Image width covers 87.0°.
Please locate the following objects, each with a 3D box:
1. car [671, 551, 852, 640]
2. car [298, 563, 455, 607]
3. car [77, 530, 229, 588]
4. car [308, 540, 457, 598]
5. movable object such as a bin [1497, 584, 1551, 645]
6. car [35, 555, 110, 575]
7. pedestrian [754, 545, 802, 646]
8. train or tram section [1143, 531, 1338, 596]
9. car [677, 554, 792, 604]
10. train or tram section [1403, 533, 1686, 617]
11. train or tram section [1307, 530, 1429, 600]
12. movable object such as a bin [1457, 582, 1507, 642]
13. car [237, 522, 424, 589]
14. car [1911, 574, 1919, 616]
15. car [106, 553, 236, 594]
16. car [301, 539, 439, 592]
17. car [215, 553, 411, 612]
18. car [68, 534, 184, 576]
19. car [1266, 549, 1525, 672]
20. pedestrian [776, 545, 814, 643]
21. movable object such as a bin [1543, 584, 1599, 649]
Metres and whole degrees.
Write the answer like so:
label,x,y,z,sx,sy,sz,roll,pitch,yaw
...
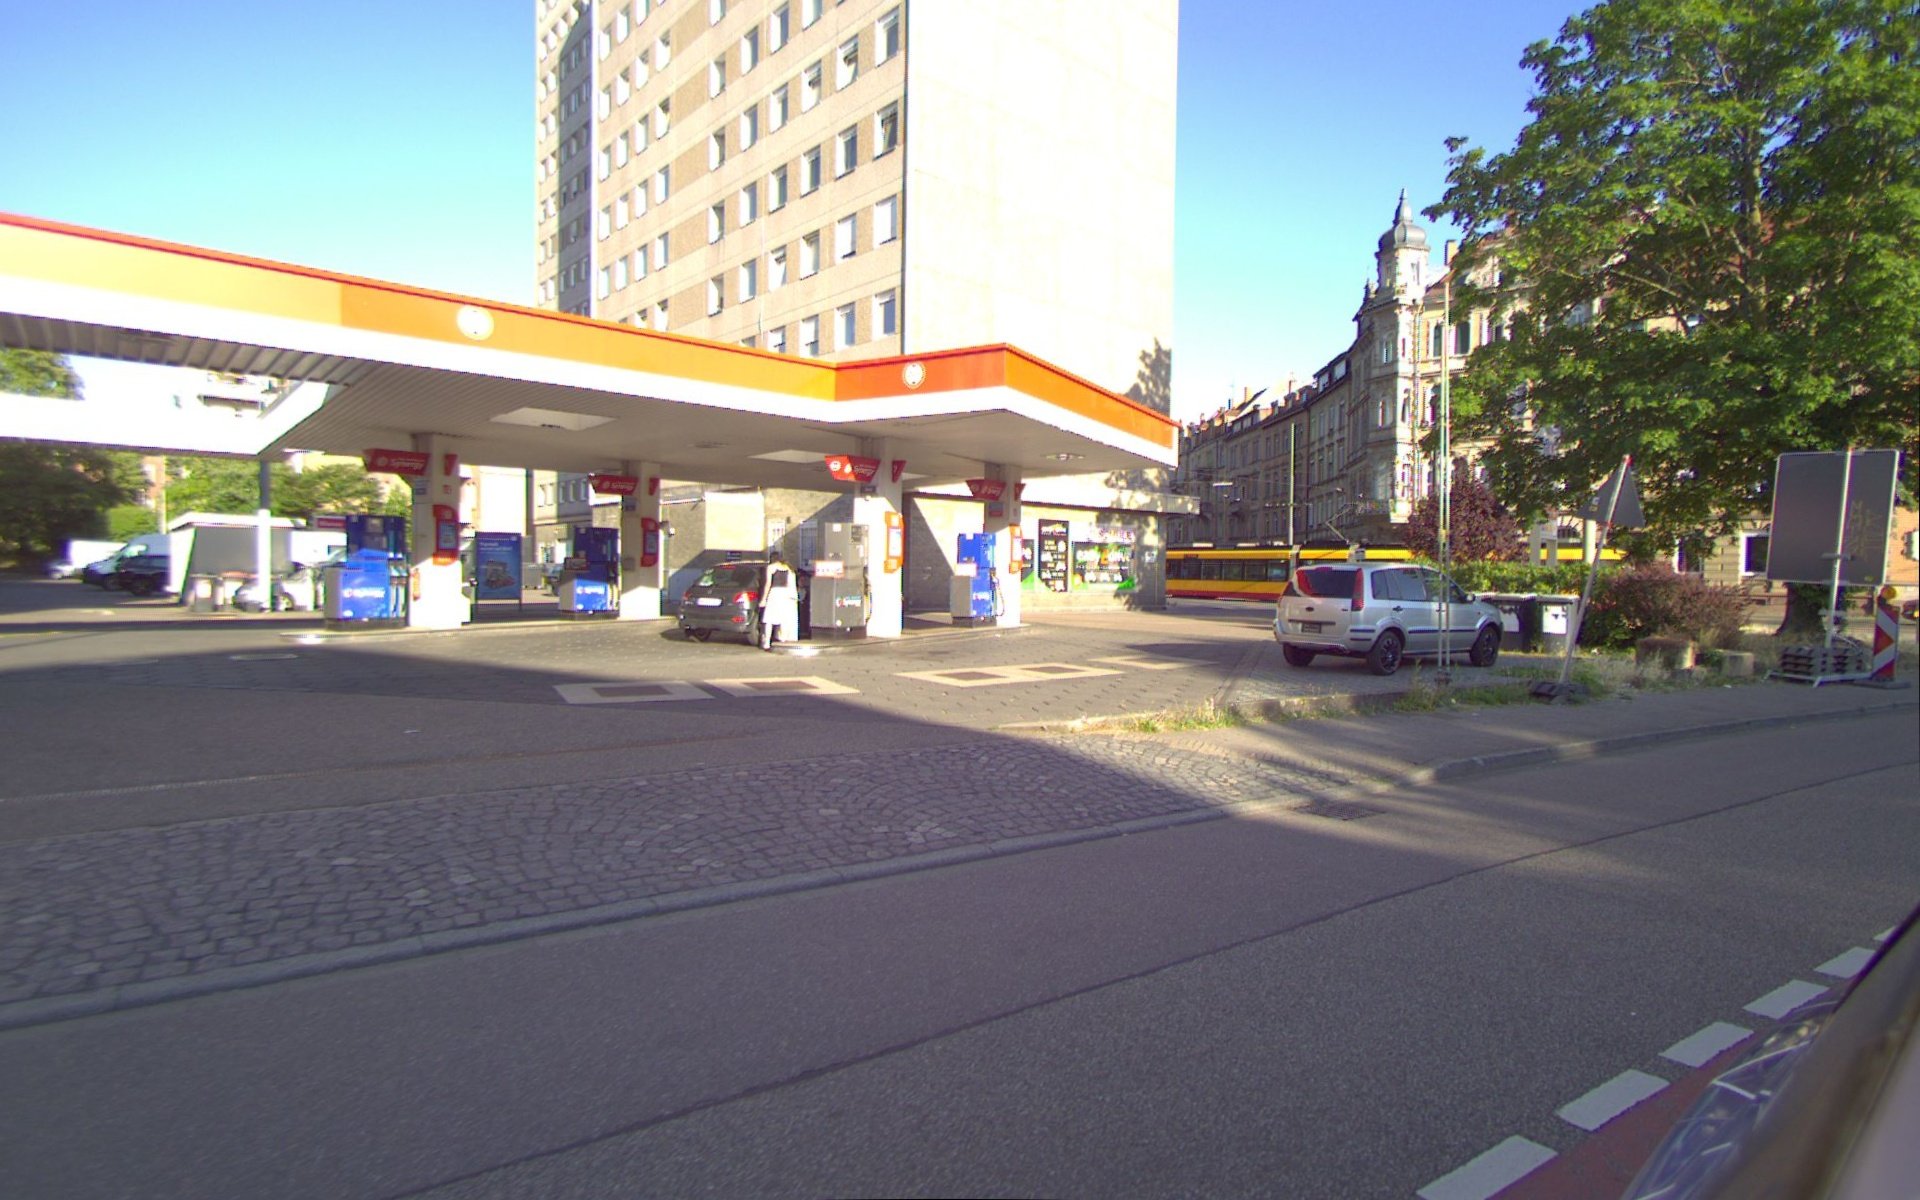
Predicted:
label,x,y,z,sx,sy,sz,roll,pitch,yaw
car,-3.524,-0.147,18.436,1.575,1.456,3.273,2,3,27
car,-18.681,-0.505,32.487,4.180,1.312,1.749,-1,2,-40
car,-37.010,-1.845,46.545,5.390,2.524,1.693,-1,2,-41
car,-19.899,-1.053,34.956,4.220,1.867,1.998,-1,2,-40
movable object such as a bin,9.881,0.244,17.738,0.661,1.042,0.574,0,2,-35
car,-63.782,-2.492,72.760,4.025,1.400,1.709,-1,2,-43
pedestrian,-3.019,-0.086,16.793,0.529,1.641,0.563,1,1,28
train or tram section,16.673,-2.211,61.771,2.813,3.551,13.027,0,2,-32
car,-7.222,-0.692,32.227,1.965,1.466,3.995,0,2,-40
train or tram section,27.218,-1.253,47.889,2.822,3.551,11.272,-1,2,-43
train or tram section,21.704,-1.855,54.023,2.817,3.551,5.302,0,2,-37
movable object such as a bin,9.414,0.209,18.257,0.573,1.042,0.524,0,1,-14
car,-25.331,-1.751,40.947,6.196,2.532,1.996,-1,2,-42
car,39.838,-0.149,39.068,1.792,1.634,4.455,-1,2,-44
car,-30.588,-1.020,39.288,3.930,1.526,1.693,-1,2,-41
car,-22.173,-1.271,38.088,4.220,1.867,1.998,-1,2,-40
car,-16.966,-0.463,26.620,4.180,1.437,1.749,-1,2,-40
car,-60.060,-3.182,72.959,6.370,2.842,2.438,-1,2,-43
car,6.470,0.087,14.950,3.818,1.613,1.626,-1,2,-32
pedestrian,-2.831,-0.104,17.354,0.524,1.641,0.568,1,1,3
movable object such as a bin,10.268,0.266,17.012,0.661,1.042,0.574,0,2,-35
